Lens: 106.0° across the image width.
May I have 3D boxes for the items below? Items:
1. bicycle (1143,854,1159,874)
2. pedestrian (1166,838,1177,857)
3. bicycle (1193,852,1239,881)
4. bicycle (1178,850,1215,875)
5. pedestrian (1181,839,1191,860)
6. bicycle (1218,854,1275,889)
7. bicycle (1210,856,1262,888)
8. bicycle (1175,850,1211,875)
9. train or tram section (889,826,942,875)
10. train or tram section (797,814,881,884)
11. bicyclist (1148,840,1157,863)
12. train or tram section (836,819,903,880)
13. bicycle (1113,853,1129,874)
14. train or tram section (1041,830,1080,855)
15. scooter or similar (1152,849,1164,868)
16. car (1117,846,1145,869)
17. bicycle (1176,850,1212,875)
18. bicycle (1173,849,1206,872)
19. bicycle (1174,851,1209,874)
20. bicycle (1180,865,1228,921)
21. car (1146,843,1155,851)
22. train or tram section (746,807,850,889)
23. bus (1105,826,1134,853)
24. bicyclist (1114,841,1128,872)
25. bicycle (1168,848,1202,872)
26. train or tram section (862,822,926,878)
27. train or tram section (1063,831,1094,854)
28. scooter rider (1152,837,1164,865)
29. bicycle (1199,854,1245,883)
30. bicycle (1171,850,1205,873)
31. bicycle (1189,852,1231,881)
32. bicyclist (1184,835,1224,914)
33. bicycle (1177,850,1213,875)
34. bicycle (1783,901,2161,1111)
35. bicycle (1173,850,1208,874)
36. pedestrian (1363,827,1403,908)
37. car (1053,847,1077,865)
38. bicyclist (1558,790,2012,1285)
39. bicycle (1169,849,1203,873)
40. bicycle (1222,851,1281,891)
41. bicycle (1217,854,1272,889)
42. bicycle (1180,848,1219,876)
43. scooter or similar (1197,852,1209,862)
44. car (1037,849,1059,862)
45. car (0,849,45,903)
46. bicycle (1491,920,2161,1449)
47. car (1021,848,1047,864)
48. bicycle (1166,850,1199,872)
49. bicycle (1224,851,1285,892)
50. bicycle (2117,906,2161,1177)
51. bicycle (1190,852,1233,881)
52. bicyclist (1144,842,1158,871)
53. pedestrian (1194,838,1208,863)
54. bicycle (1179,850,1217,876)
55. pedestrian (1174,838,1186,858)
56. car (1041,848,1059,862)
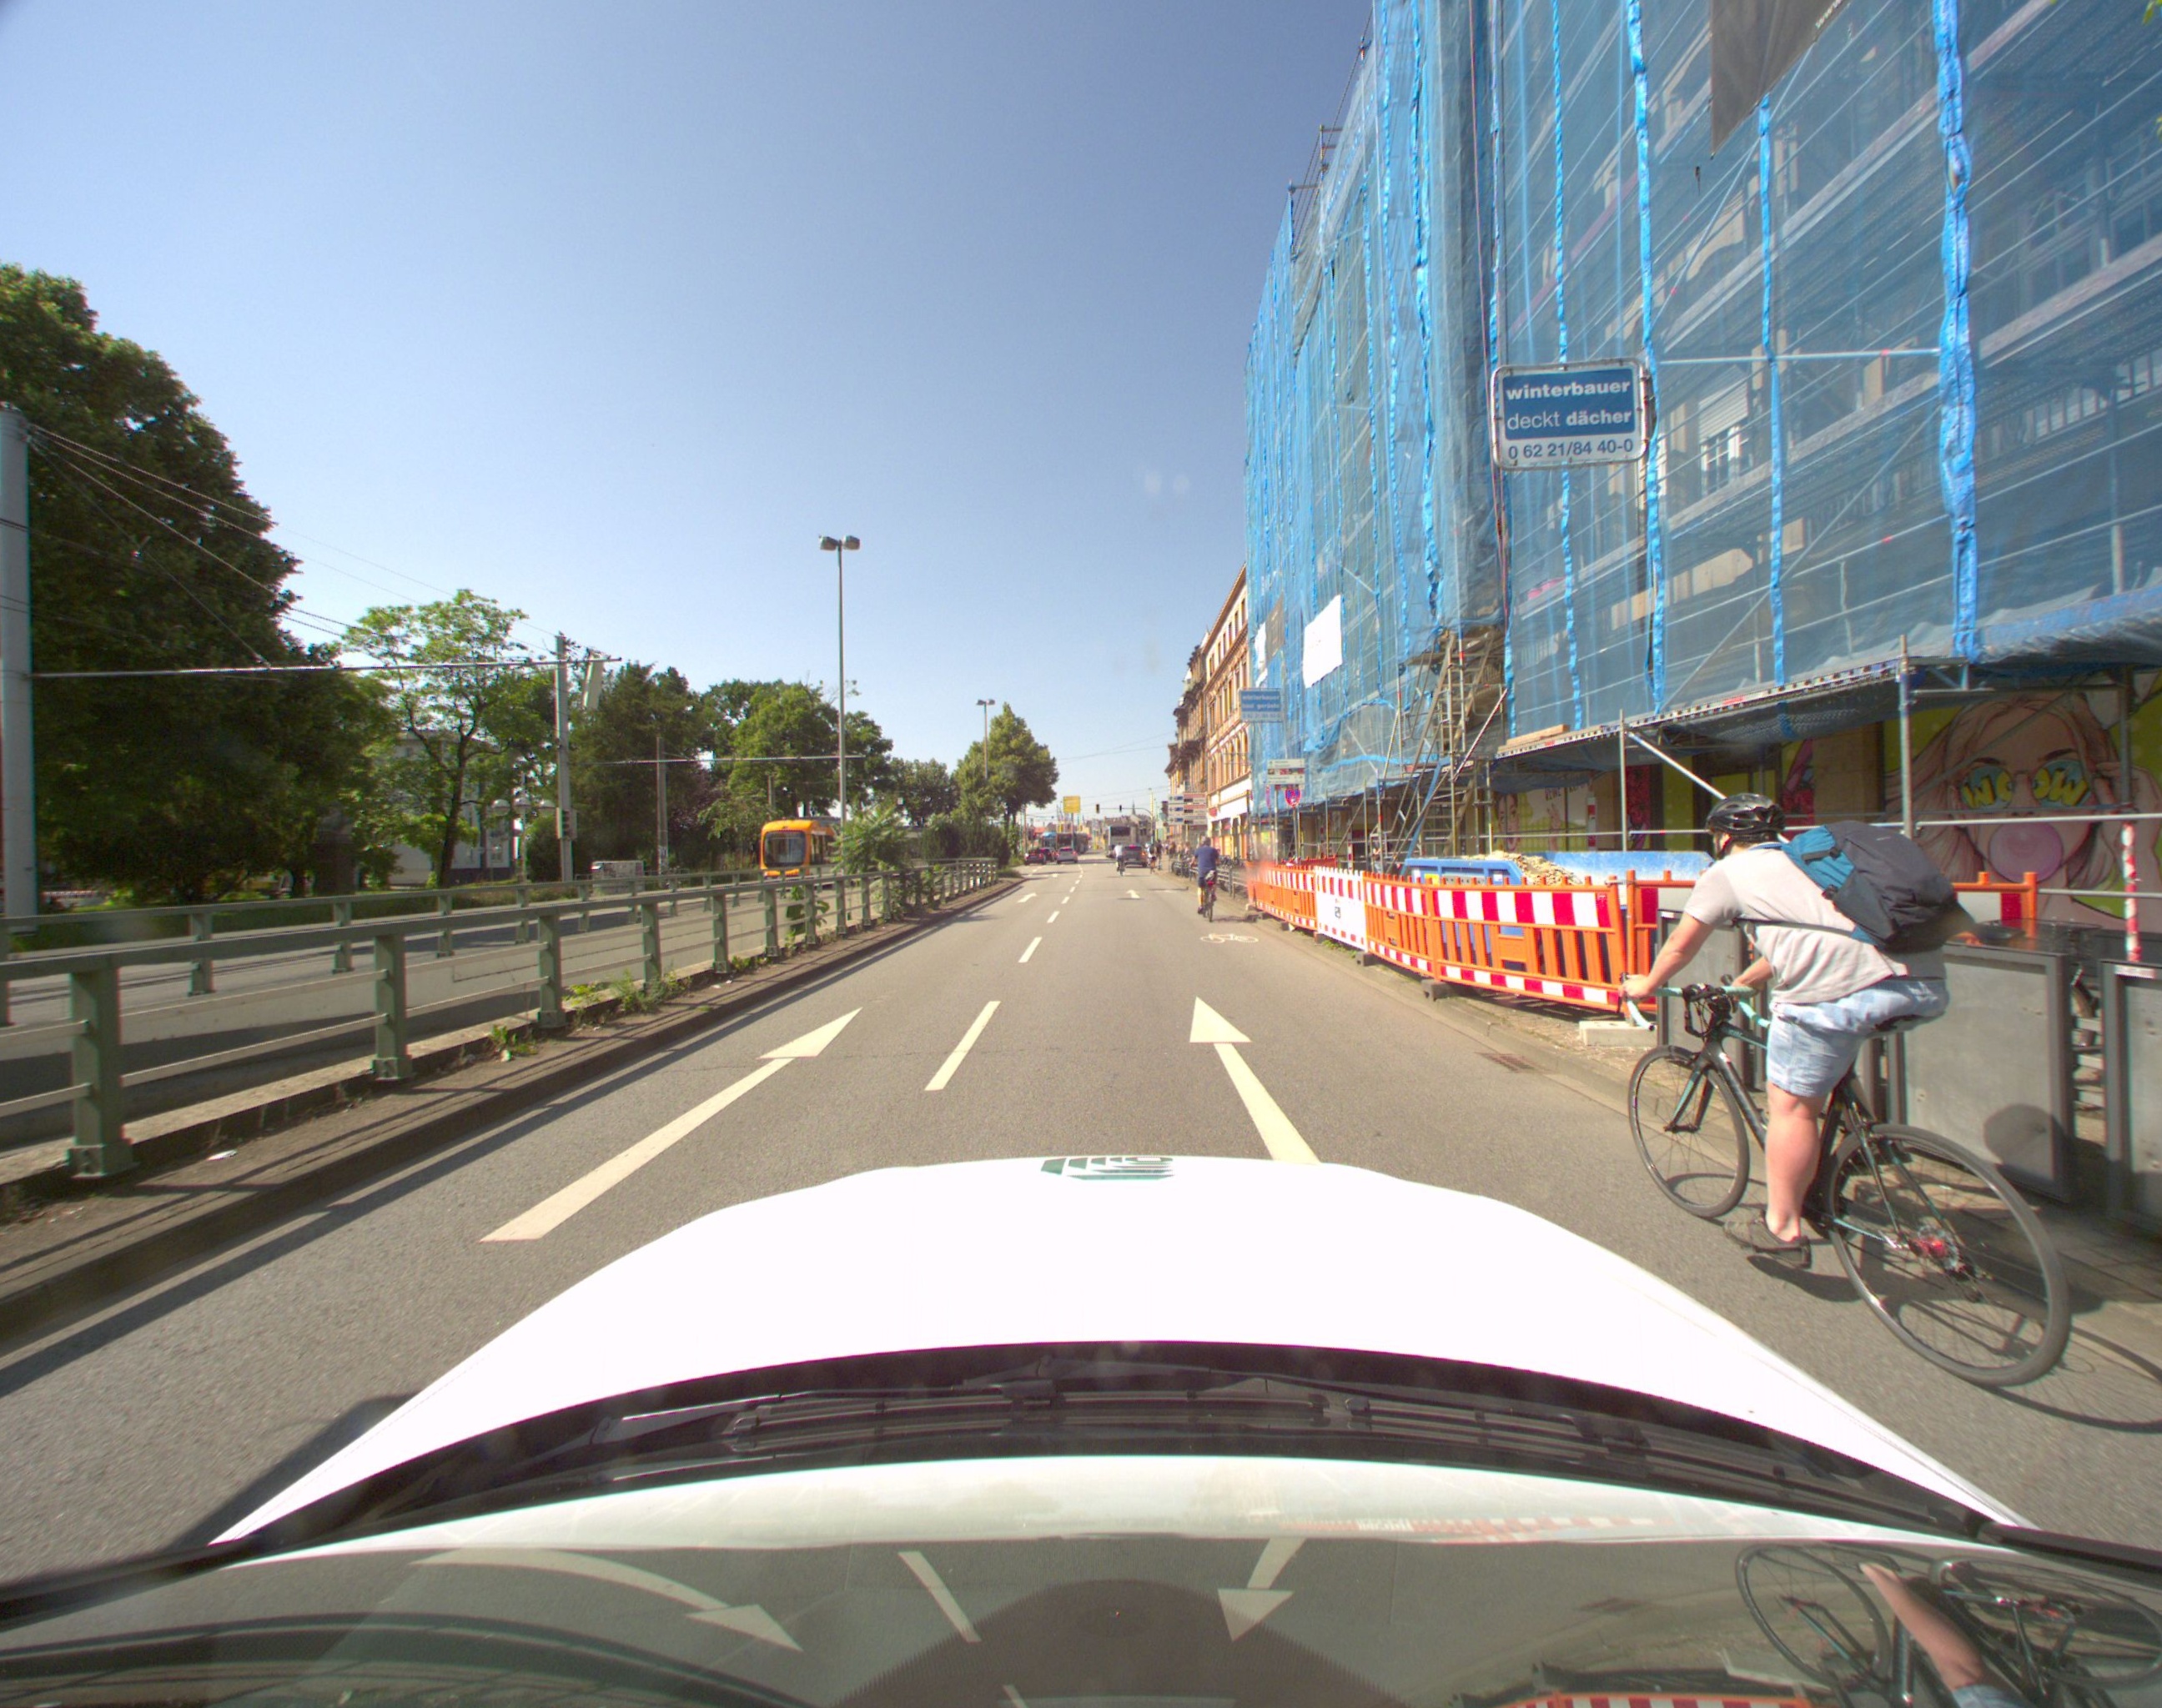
[{"bbox_3d":[3.918,0.553,45.645,0.731,1.093,1.898,1,0,1],"label":"bicycle"},{"bbox_3d":[7.732,-0.536,69.470,0.859,1.640,0.875,-1,0,0],"label":"pedestrian"},{"bbox_3d":[5.411,0.492,32.625,1.764,1.178,0.609,0,0,2],"label":"bicycle"},{"bbox_3d":[5.423,0.394,38.306,1.687,1.178,0.491,0,0,2],"label":"bicycle"},{"bbox_3d":[8.253,-0.381,63.854,0.652,1.620,0.815,-2,1,0],"label":"pedestrian"},{"bbox_3d":[5.215,0.551,25.653,1.687,1.097,0.609,0,0,2],"label":"bicycle"},{"bbox_3d":[5.403,0.625,28.456,1.732,1.109,0.609,0,0,2],"label":"bicycle"},{"bbox_3d":[5.477,0.415,39.899,1.687,1.178,0.457,0,0,2],"label":"bicycle"},{"bbox_3d":[-12.708,-0.244,63.002,2.604,3.581,6.019,1,0,1],"label":"train or tram section"},{"bbox_3d":[-13.145,-0.257,44.817,2.604,3.581,6.105,1,0,1],"label":"train or tram section"},{"bbox_3d":[6.059,-0.189,68.946,0.685,1.962,0.778,1,0,2],"label":"bicyclist"},{"bbox_3d":[-13.009,-0.253,50.537,2.604,3.581,5.358,1,0,1],"label":"train or tram section"},{"bbox_3d":[2.075,0.490,42.694,0.731,1.093,1.898,1,0,0],"label":"bicycle"},{"bbox_3d":[-2.985,-1.705,122.597,2.801,3.581,10.075,1,0,16],"label":"train or tram section"},{"bbox_3d":[4.832,0.278,51.104,0.685,1.167,1.465,1,0,3],"label":"scooter or similar"},{"bbox_3d":[3.458,0.202,56.568,1.866,1.492,4.003,-1,0,3],"label":"car"},{"bbox_3d":[5.459,0.408,39.394,1.687,1.178,0.463,0,0,2],"label":"bicycle"},{"bbox_3d":[5.668,0.346,42.670,1.687,1.178,0.470,0,0,1],"label":"bicycle"},{"bbox_3d":[5.504,0.421,40.456,1.687,1.178,0.514,0,0,2],"label":"bicycle"},{"bbox_3d":[2.601,0.804,17.439,0.731,1.093,1.911,1,0,0],"label":"bicycle"},{"bbox_3d":[16.420,-1.654,192.514,1.985,1.878,4.004,-2,0,4],"label":"car"},{"bbox_3d":[-13.283,-0.261,38.746,2.604,3.581,6.105,1,0,1],"label":"train or tram section"},{"bbox_3d":[4.194,-1.542,90.238,2.959,2.776,8.642,1,0,1],"label":"bus"},{"bbox_3d":[2.079,0.118,42.710,0.686,1.576,1.049,1,0,0],"label":"bicyclist"},{"bbox_3d":[5.599,0.329,43.923,1.687,1.178,0.609,-3,0,2],"label":"bicycle"},{"bbox_3d":[-12.856,-0.249,56.632,2.604,3.581,6.900,1,0,1],"label":"train or tram section"},{"bbox_3d":[-0.359,-1.763,131.366,2.801,3.581,8.261,1,0,16],"label":"train or tram section"},{"bbox_3d":[4.856,-0.211,51.144,0.685,1.729,0.778,1,0,2],"label":"scooter rider"},{"bbox_3d":[5.393,0.544,31.249,1.687,1.087,0.609,0,0,2],"label":"bicycle"},{"bbox_3d":[5.544,0.393,42.135,1.687,1.178,0.470,0,0,1],"label":"bicycle"},{"bbox_3d":[5.420,0.518,34.204,1.687,1.178,0.609,0,0,2],"label":"bicycle"},{"bbox_3d":[2.602,0.423,17.304,0.686,1.616,0.918,1,0,0],"label":"bicyclist"},{"bbox_3d":[5.444,0.388,38.863,1.687,1.178,0.452,0,0,2],"label":"bicycle"},{"bbox_3d":[4.873,0.788,4.402,1.747,1.018,0.483,-1,0,-1],"label":"bicycle"},{"bbox_3d":[5.520,0.410,41.032,1.687,1.178,0.459,0,0,2],"label":"bicycle"},{"bbox_3d":[6.713,0.295,18.116,0.637,1.776,0.649,1,0,1],"label":"pedestrian"},{"bbox_3d":[-1.389,0.167,72.246,1.851,1.507,4.003,1,0,3],"label":"car"},{"bbox_3d":[2.431,0.547,2.994,0.686,1.463,1.143,1,0,0],"label":"bicyclist"},{"bbox_3d":[5.568,0.364,43.269,1.687,1.178,0.609,-2,0,2],"label":"bicycle"},{"bbox_3d":[5.205,0.512,24.869,1.687,1.178,0.609,0,0,2],"label":"bicycle"},{"bbox_3d":[5.293,0.559,26.389,1.687,1.097,0.609,0,0,2],"label":"bicycle"},{"bbox_3d":[5.397,0.361,37.084,1.687,1.241,0.609,0,0,2],"label":"bicycle"},{"bbox_3d":[8.505,0.223,56.795,0.689,0.650,0.565,-5,-1,0],"label":"scooter or similar"},{"bbox_3d":[-3.527,0.128,87.745,2.029,1.332,4.003,1,0,3],"label":"car"},{"bbox_3d":[-68.021,1.371,49.864,2.119,3.316,5.421,1,0,1],"label":"car"},{"bbox_3d":[2.420,0.881,3.023,0.731,1.093,2.130,1,0,0],"label":"bicycle"},{"bbox_3d":[-4.059,0.156,71.173,1.808,1.332,4.003,1,0,3],"label":"car"},{"bbox_3d":[5.551,0.369,44.562,1.687,1.178,0.609,-2,0,2],"label":"bicycle"},{"bbox_3d":[5.133,0.510,24.099,1.687,1.178,0.609,0,0,2],"label":"bicycle"},{"bbox_3d":[4.965,0.704,2.982,1.747,1.018,0.483,-1,0,-1],"label":"bicycle"},{"bbox_3d":[5.368,0.505,33.525,1.687,1.178,0.609,0,0,2],"label":"bicycle"},{"bbox_3d":[3.921,0.141,45.680,0.686,1.576,1.049,1,0,0],"label":"bicyclist"},{"bbox_3d":[8.471,-0.256,57.394,0.753,1.656,0.837,-4,-1,1],"label":"pedestrian"},{"bbox_3d":[5.403,0.404,37.745,1.687,1.178,0.498,0,0,2],"label":"bicycle"},{"bbox_3d":[8.270,-0.530,67.772,0.859,1.640,0.875,-1,0,0],"label":"pedestrian"},{"bbox_3d":[-3.018,0.094,80.549,1.446,1.300,4.003,1,0,3],"label":"car"}]
